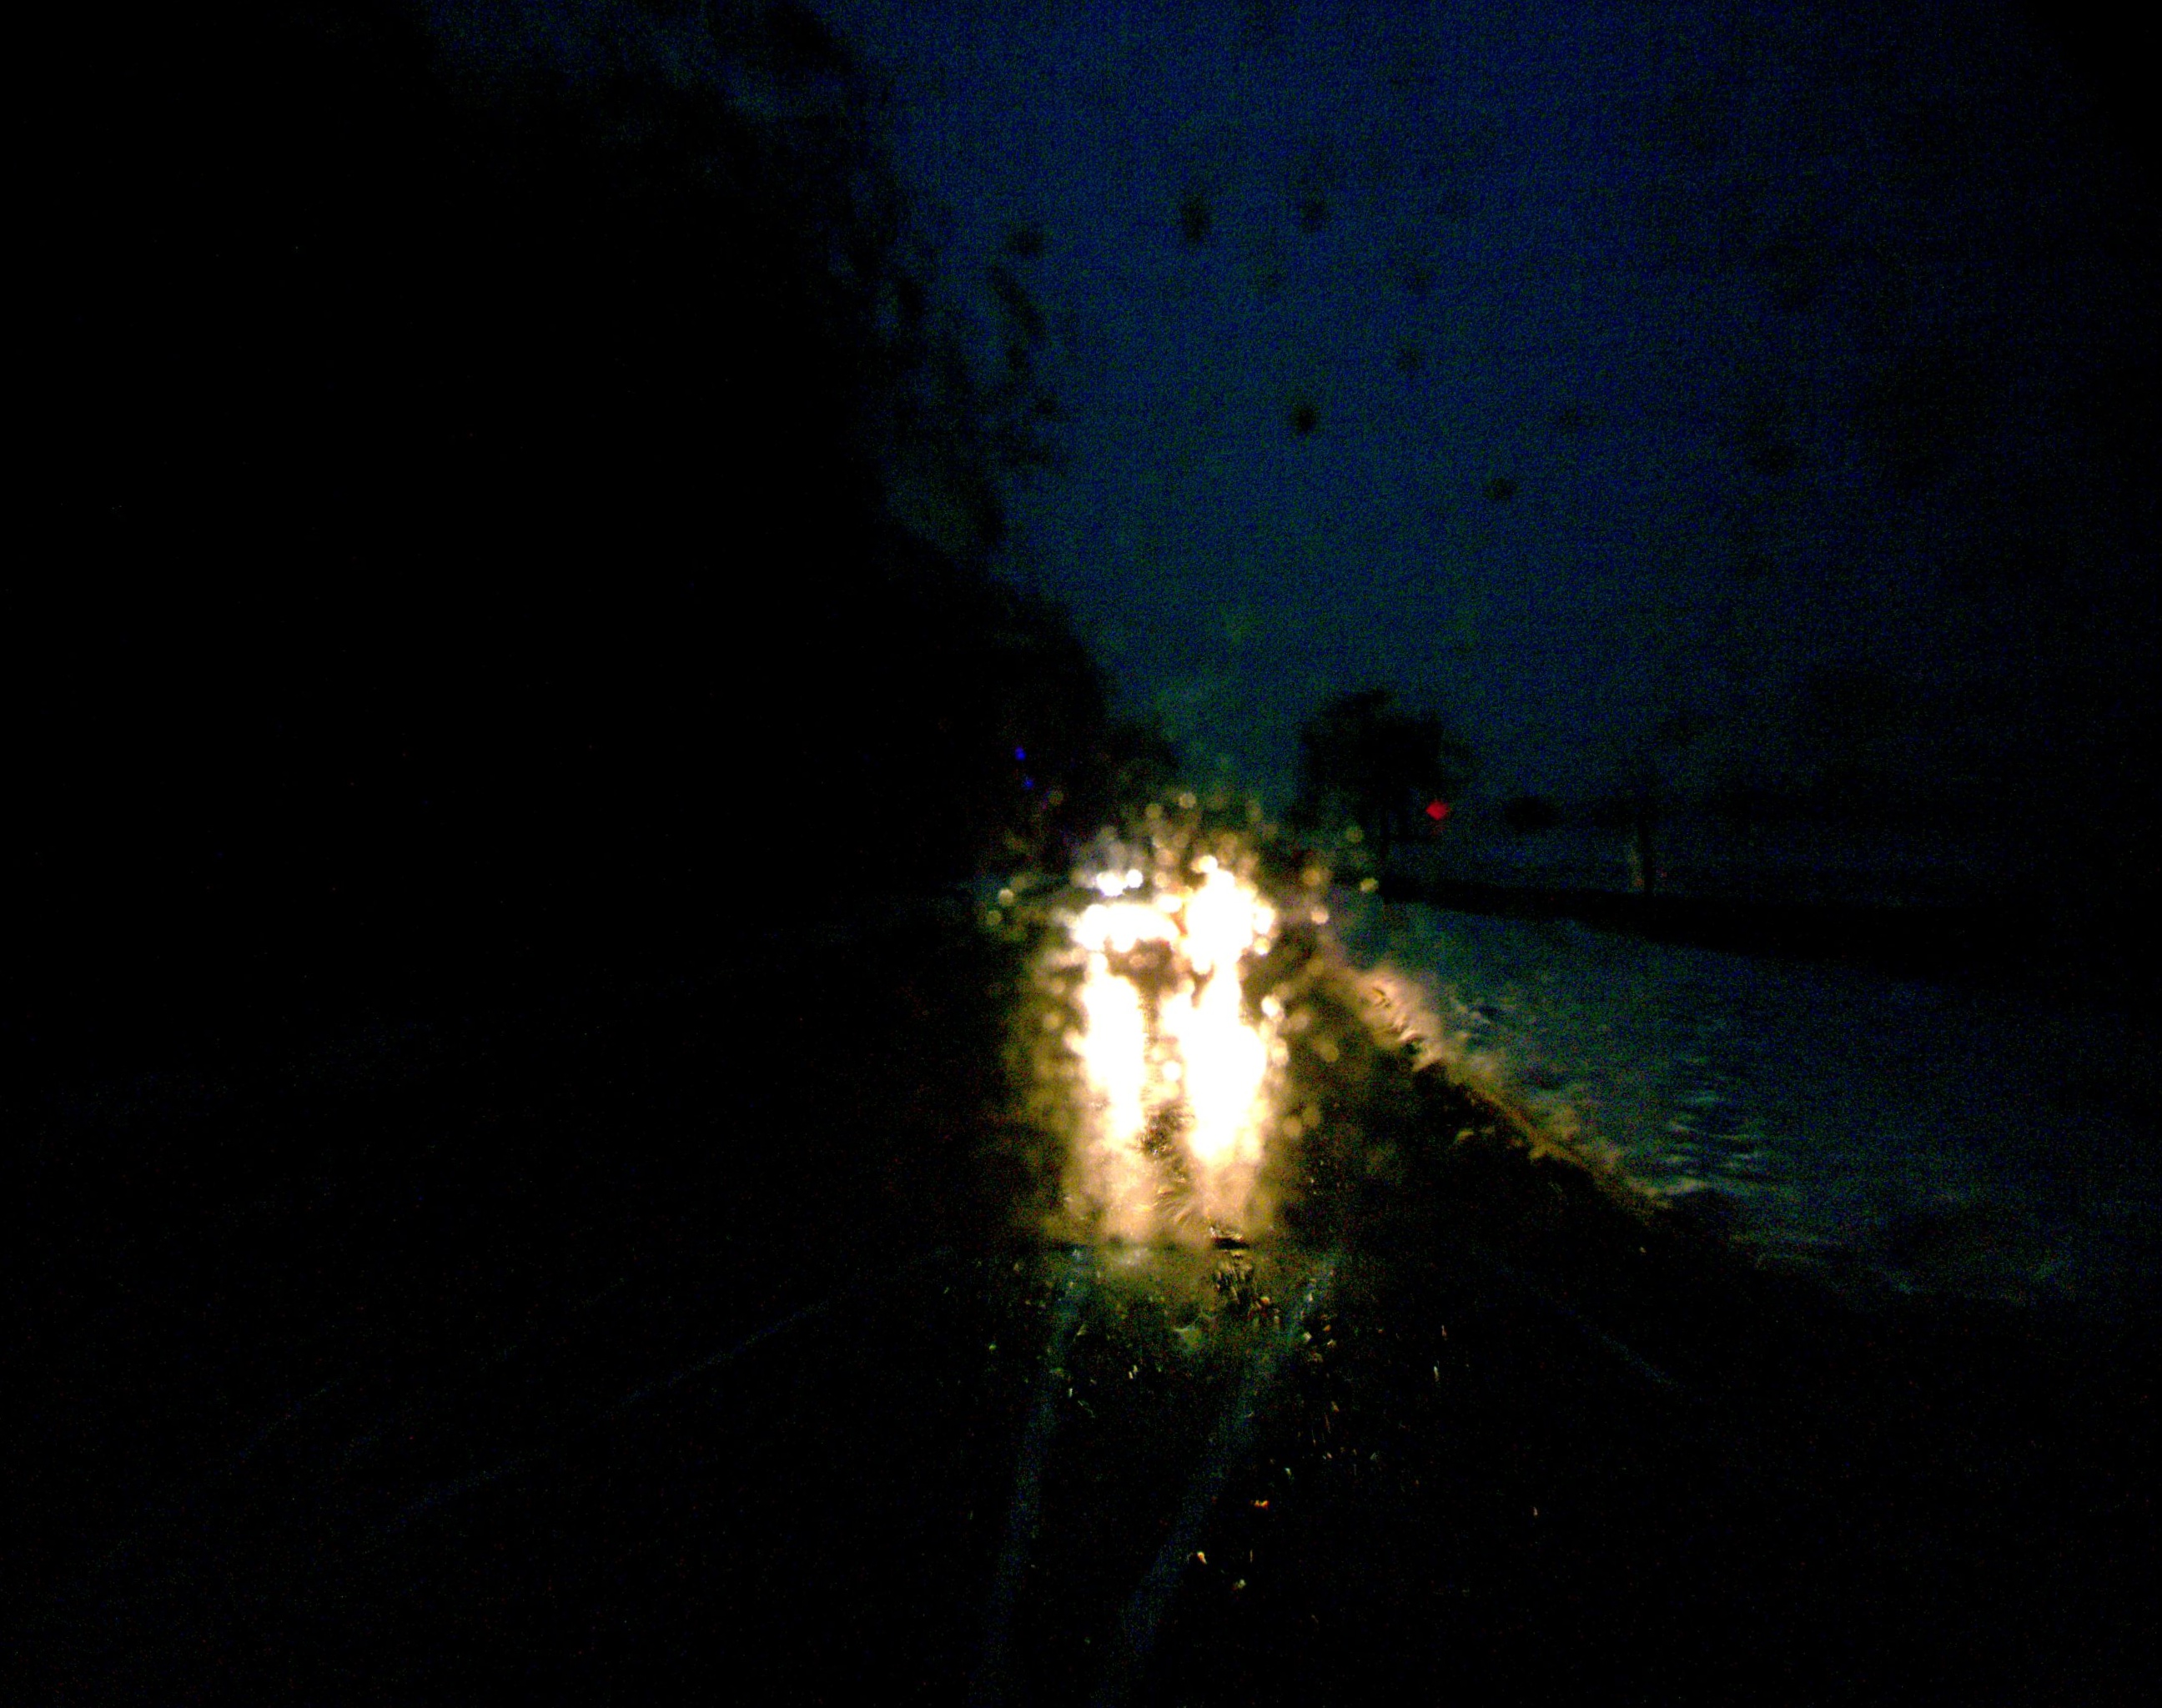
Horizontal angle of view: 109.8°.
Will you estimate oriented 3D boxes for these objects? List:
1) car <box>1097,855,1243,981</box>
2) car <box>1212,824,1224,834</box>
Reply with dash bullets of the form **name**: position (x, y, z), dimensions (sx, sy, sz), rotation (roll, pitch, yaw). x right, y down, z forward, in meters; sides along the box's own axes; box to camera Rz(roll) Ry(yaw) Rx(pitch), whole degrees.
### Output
- **car**: position (1.274, 0.796, 11.193), dimensions (1.724, 1.426, 3.677), rotation (-2, 1, 6)
- **car**: position (25.760, -4.653, 142.811), dimensions (1.997, 1.797, 4.001), rotation (-2, 2, 9)
